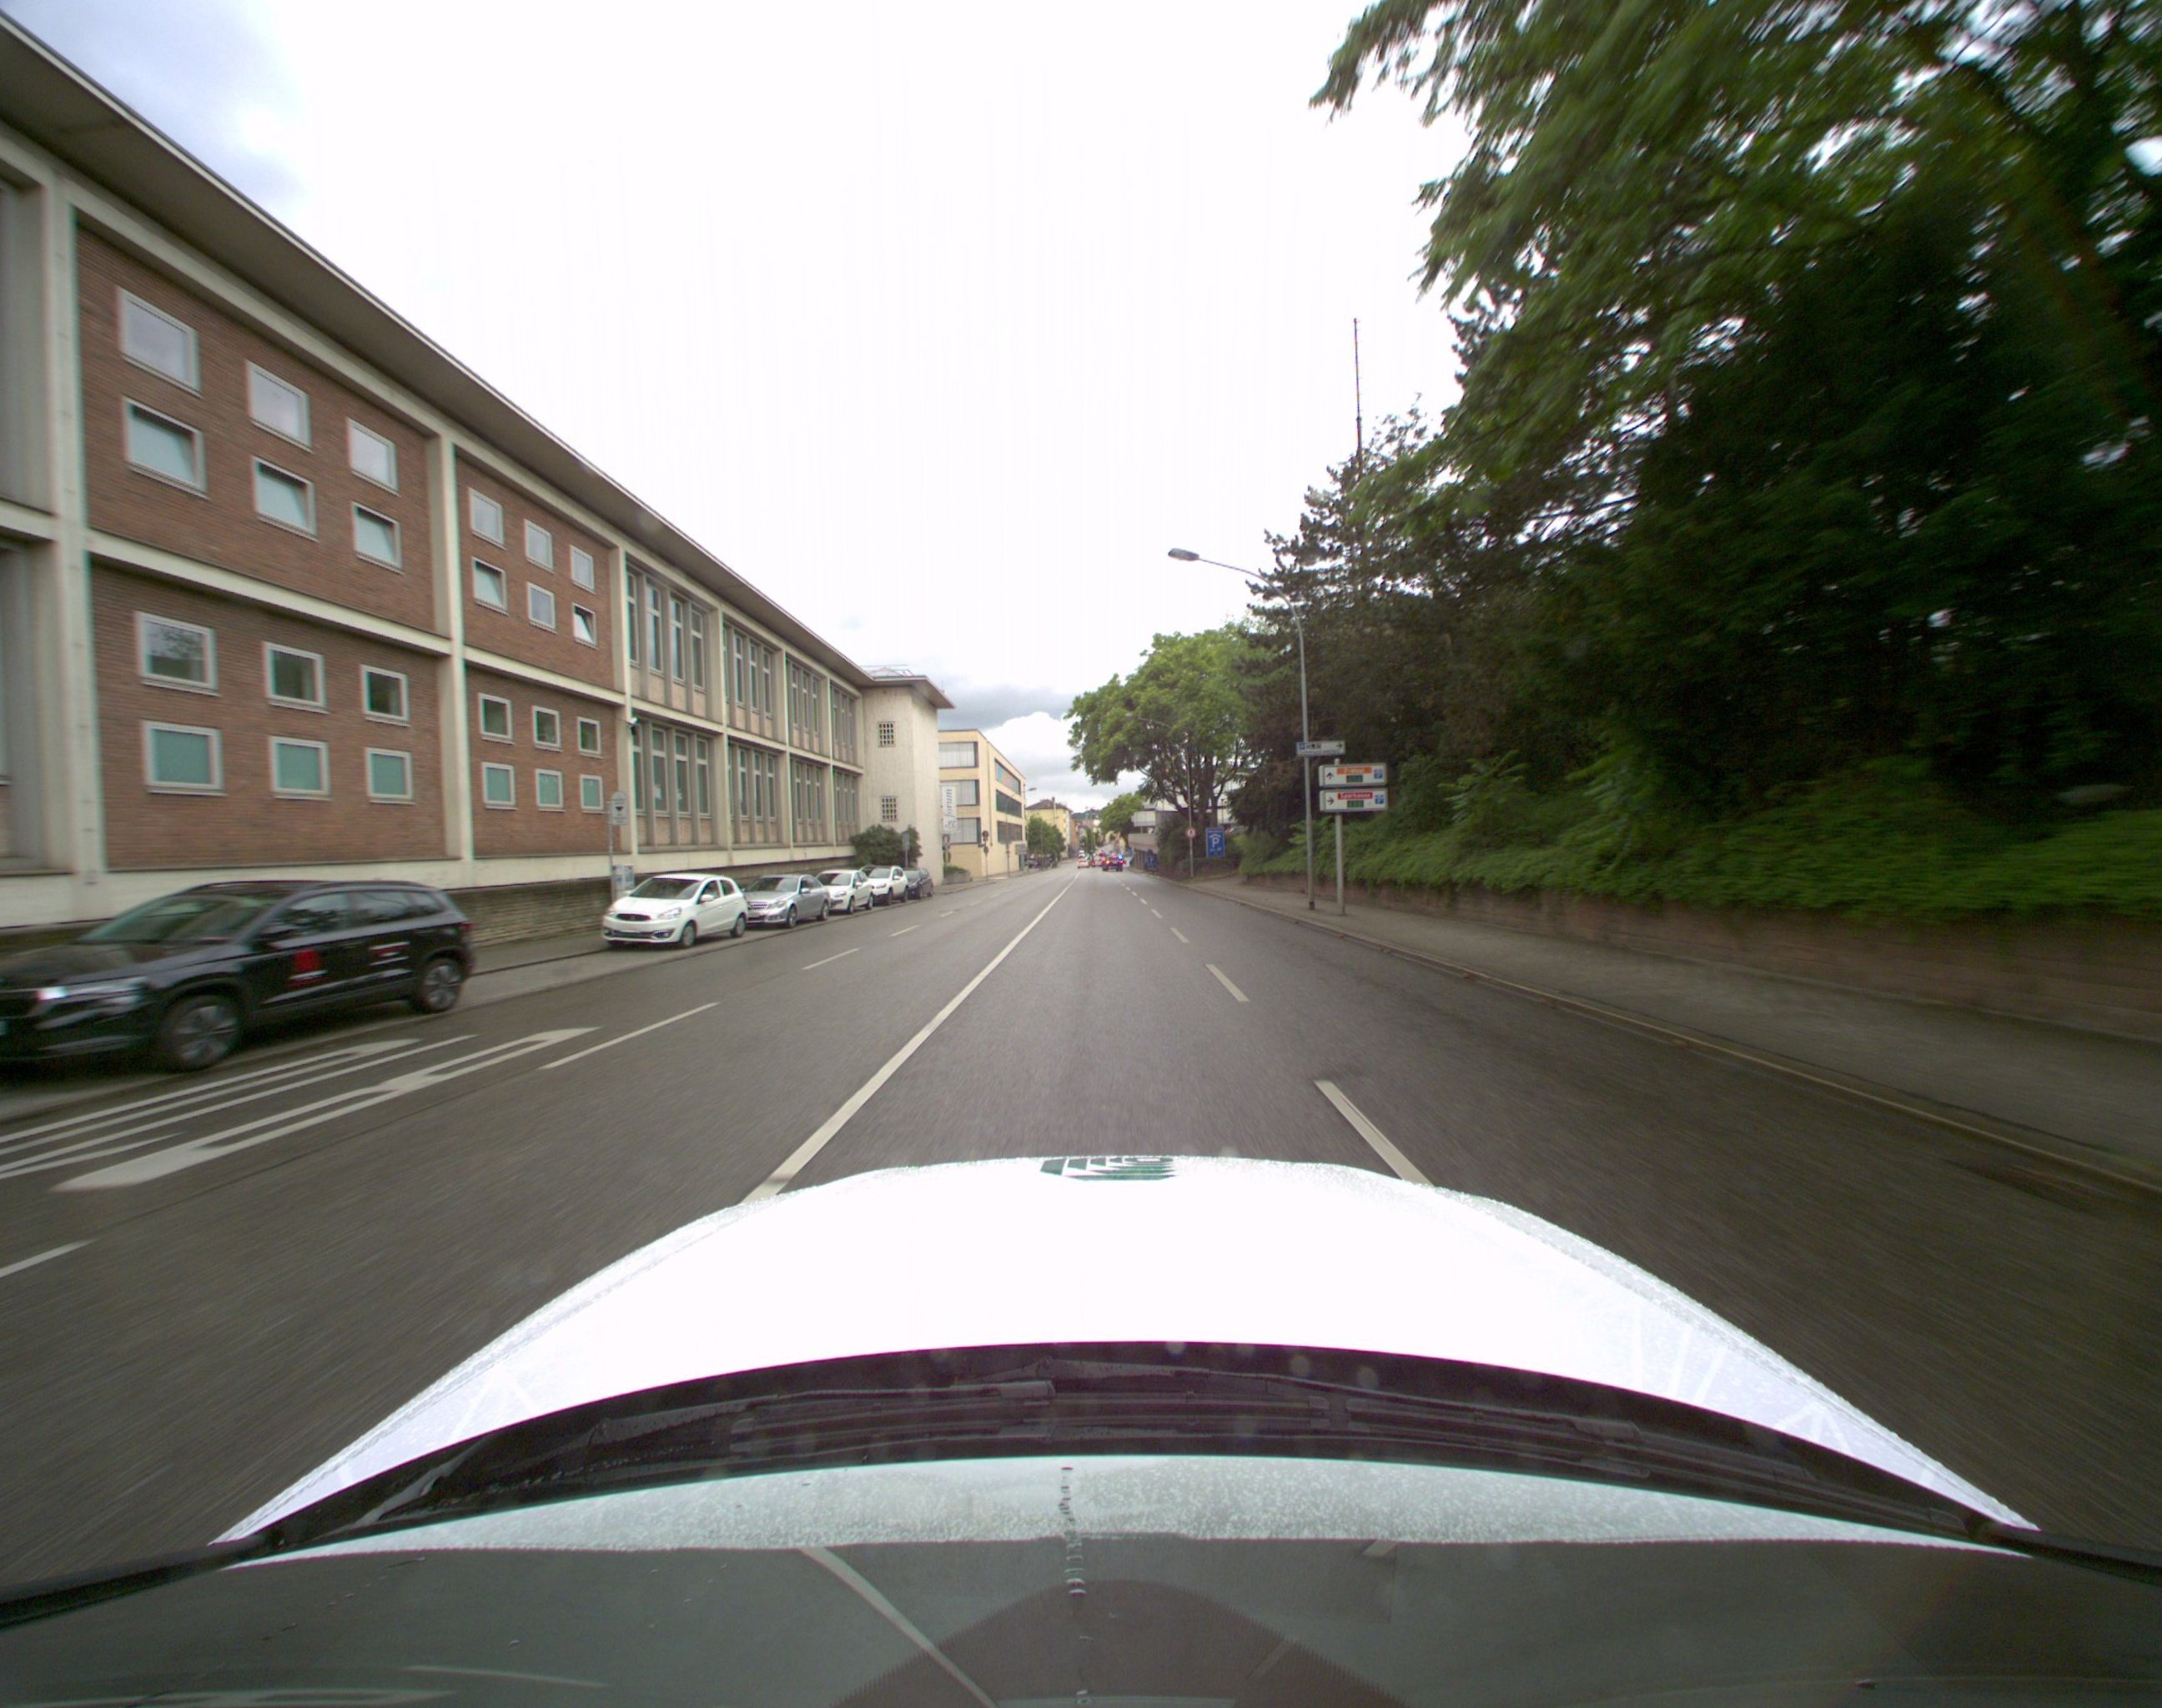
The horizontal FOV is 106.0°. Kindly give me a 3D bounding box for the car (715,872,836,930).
[{"bbox_3d":[-8.498,1.252,23.110,1.742,1.435,4.485,0,-1,0],"label":"car"}]

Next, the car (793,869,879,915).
[{"bbox_3d":[-8.496,1.271,28.575,1.742,1.454,4.180,0,0,0],"label":"car"}]

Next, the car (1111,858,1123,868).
[{"bbox_3d":[7.096,1.803,161.532,2.165,2.004,4.002,-2,0,2],"label":"car"}]

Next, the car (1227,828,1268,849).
[{"bbox_3d":[15.119,-1.405,74.034,3.601,1.706,1.645,-2,0,8],"label":"car"}]

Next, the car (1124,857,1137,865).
[{"bbox_3d":[11.274,1.574,185.418,1.979,1.680,4.016,-2,0,14],"label":"car"}]

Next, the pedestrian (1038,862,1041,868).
[{"bbox_3d":[-8.185,2.156,159.197,0.450,1.278,0.455,-2,-1,12],"label":"pedestrian"}]

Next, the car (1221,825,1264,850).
[{"bbox_3d":[13.603,-1.397,68.810,3.430,2.013,1.658,-2,0,8],"label":"car"}]

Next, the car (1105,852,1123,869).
[{"bbox_3d":[3.888,0.798,97.261,2.083,1.911,4.101,-2,0,2],"label":"car"}]

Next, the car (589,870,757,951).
[{"bbox_3d":[-8.794,1.150,17.951,1.673,1.522,3.921,-1,-1,1],"label":"car"}]

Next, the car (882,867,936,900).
[{"bbox_3d":[-8.177,1.375,39.073,1.742,1.480,4.180,0,0,0],"label":"car"}]

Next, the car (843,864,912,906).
[{"bbox_3d":[-8.383,1.246,33.891,1.742,1.598,4.181,0,0,1],"label":"car"}]

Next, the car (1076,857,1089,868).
[{"bbox_3d":[0.223,1.395,135.702,1.990,1.680,3.994,-2,0,-4],"label":"car"}]

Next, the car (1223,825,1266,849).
[{"bbox_3d":[14.329,-1.489,71.625,3.563,2.013,1.600,-2,0,8],"label":"car"}]

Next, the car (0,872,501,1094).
[{"bbox_3d":[-8.624,1.041,8.508,1.835,1.653,4.515,0,-1,0],"label":"car"}]

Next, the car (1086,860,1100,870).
[{"bbox_3d":[2.119,1.955,143.580,1.990,1.680,3.994,-1,0,-4],"label":"car"}]

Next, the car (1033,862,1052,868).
[{"bbox_3d":[-7.807,2.261,164.283,3.648,1.235,1.438,-1,0,-5],"label":"car"}]
